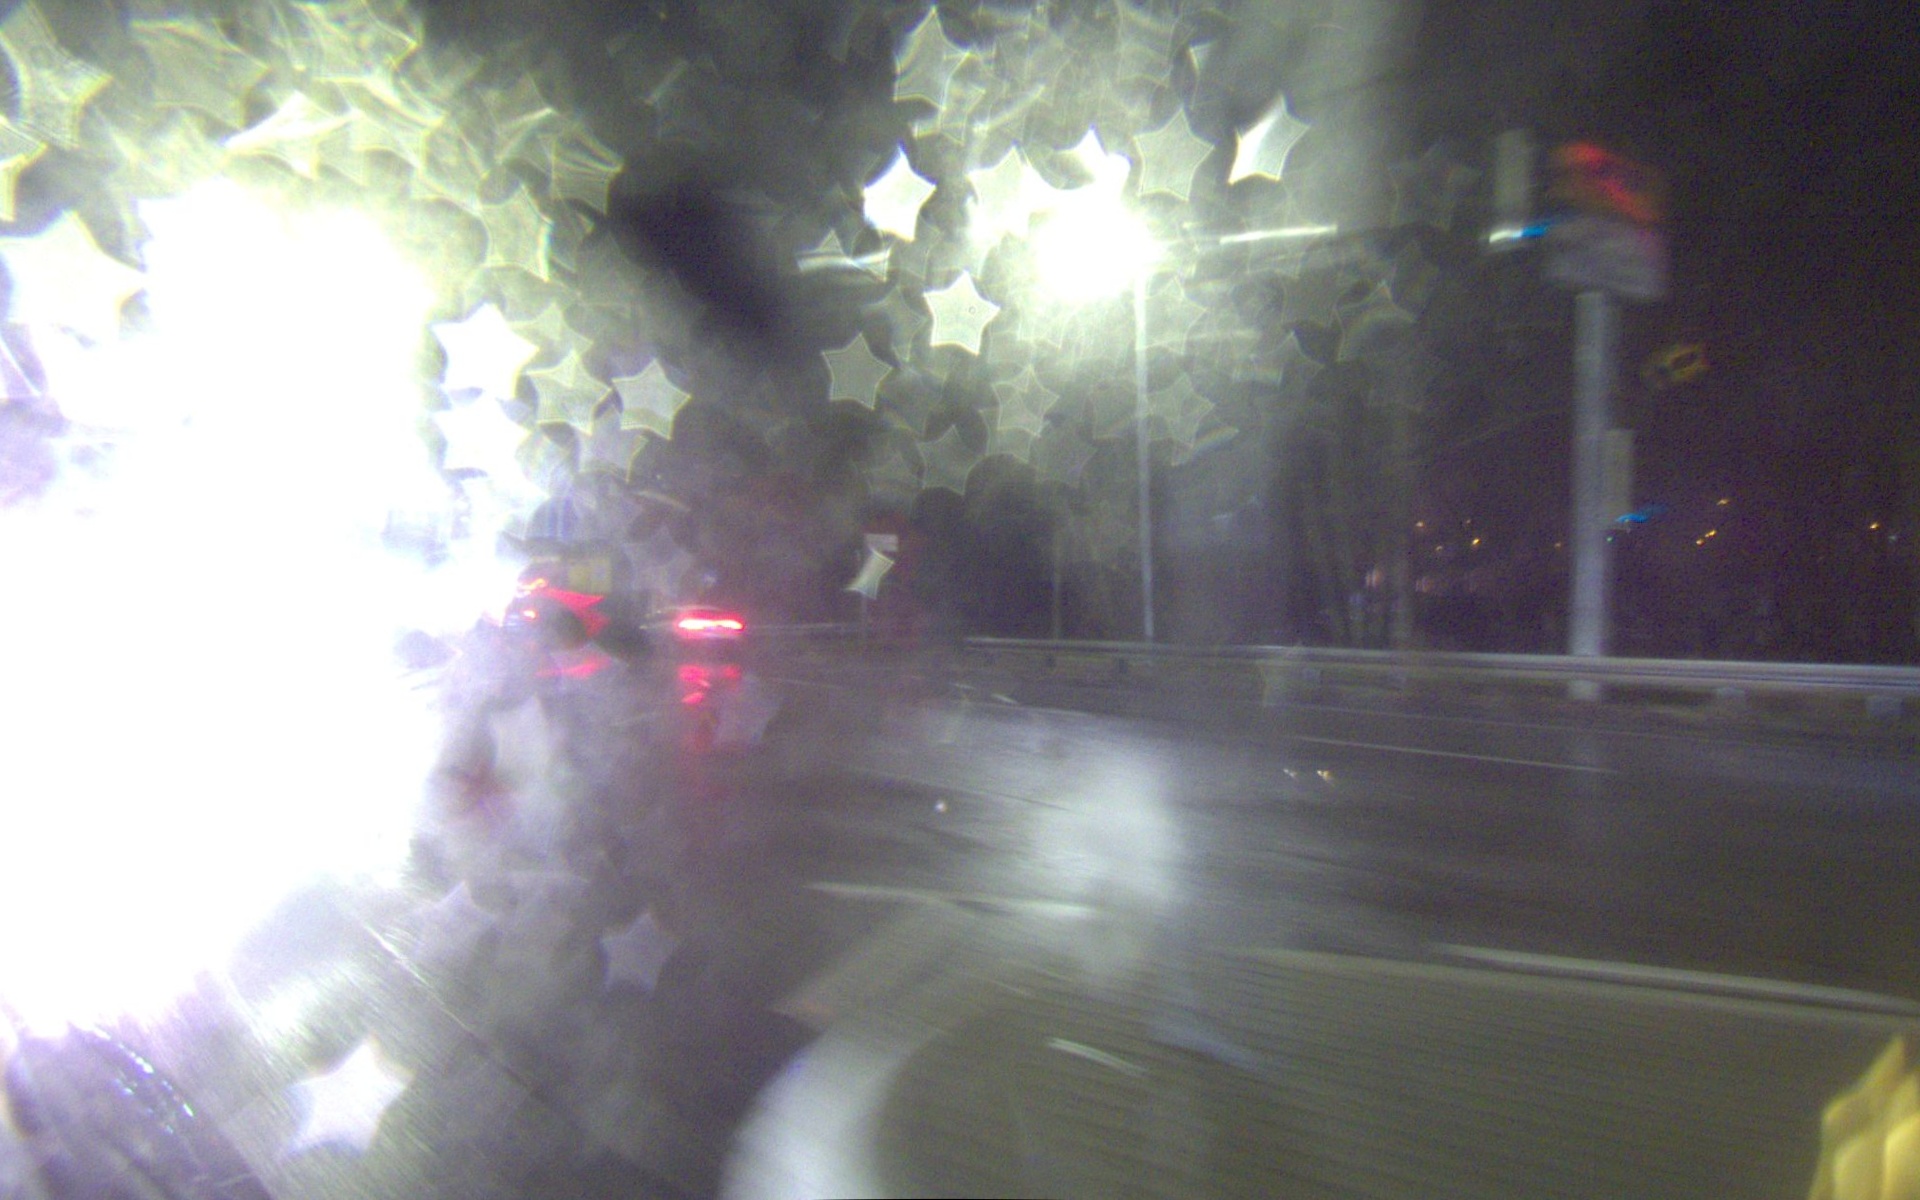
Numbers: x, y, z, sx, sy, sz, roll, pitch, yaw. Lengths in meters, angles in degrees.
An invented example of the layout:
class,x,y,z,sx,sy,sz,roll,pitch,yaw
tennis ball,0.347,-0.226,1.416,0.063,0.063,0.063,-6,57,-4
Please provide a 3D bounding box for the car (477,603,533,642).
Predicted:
class,x,y,z,sx,sy,sz,roll,pitch,yaw
car,-19.383,0.898,42.991,1.755,1.471,4.491,-1,1,-29

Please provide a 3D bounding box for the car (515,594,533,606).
class,x,y,z,sx,sy,sz,roll,pitch,yaw
car,-58.898,-0.031,136.769,1.750,1.605,4.575,0,1,-18

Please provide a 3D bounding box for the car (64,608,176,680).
class,x,y,z,sx,sy,sz,roll,pitch,yaw
car,-20.837,1.031,25.218,1.580,1.435,3.400,-4,3,-31

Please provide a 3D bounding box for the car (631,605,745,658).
class,x,y,z,sx,sy,sz,roll,pitch,yaw
car,-7.727,0.867,28.506,1.782,1.363,4.153,1,-2,-35

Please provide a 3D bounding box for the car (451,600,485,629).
class,x,y,z,sx,sy,sz,roll,pitch,yaw
car,-26.497,0.779,54.423,1.543,1.444,3.506,-1,0,-27

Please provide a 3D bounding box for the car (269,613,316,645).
class,x,y,z,sx,sy,sz,roll,pitch,yaw
car,-35.819,1.518,54.343,1.579,1.435,3.401,-4,3,-25

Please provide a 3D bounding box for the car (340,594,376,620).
class,x,y,z,sx,sy,sz,roll,pitch,yaw
car,-45.848,0.529,77.136,1.935,1.807,4.014,-2,2,-26

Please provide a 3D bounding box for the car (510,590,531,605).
class,x,y,z,sx,sy,sz,roll,pitch,yaw
car,-46.016,-0.298,105.964,1.710,1.507,3.953,1,0,-19

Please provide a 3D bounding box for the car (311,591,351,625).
class,x,y,z,sx,sy,sz,roll,pitch,yaw
car,-41.072,0.487,66.155,1.966,2.028,4.013,-2,2,-29

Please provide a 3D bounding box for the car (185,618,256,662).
class,x,y,z,sx,sy,sz,roll,pitch,yaw
car,-29.304,1.551,40.184,1.579,1.435,3.401,-4,3,-25

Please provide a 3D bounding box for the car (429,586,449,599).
class,x,y,z,sx,sy,sz,roll,pitch,yaw
car,-71.341,-1.078,138.511,1.965,1.691,4.014,-2,2,-21

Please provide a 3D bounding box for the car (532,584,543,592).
class,x,y,z,sx,sy,sz,roll,pitch,yaw
car,-74.725,-2.130,179.004,1.687,1.434,4.683,2,0,-22

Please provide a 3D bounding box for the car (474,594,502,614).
class,x,y,z,sx,sy,sz,roll,pitch,yaw
car,-36.815,0.311,78.937,1.764,1.468,4.592,1,-1,-23

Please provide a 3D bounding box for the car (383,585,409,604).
class,x,y,z,sx,sy,sz,roll,pitch,yaw
car,-62.465,-0.621,112.134,1.842,2.028,3.917,-2,2,-19

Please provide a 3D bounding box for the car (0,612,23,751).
class,x,y,z,sx,sy,sz,roll,pitch,yaw
car,-11.616,0.902,11.377,1.475,1.435,3.394,-1,-1,-42

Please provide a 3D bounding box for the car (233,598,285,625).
class,x,y,z,sx,sy,sz,roll,pitch,yaw
car,-45.556,0.730,65.873,1.965,1.610,4.407,-1,2,-24

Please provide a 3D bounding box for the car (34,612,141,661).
class,x,y,z,sx,sy,sz,roll,pitch,yaw
car,-31.537,1.270,36.711,1.714,1.428,4.154,-2,2,-23

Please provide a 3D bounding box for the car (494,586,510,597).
class,x,y,z,sx,sy,sz,roll,pitch,yaw
car,-66.171,-1.213,146.292,1.822,1.583,3.518,-1,0,-19
